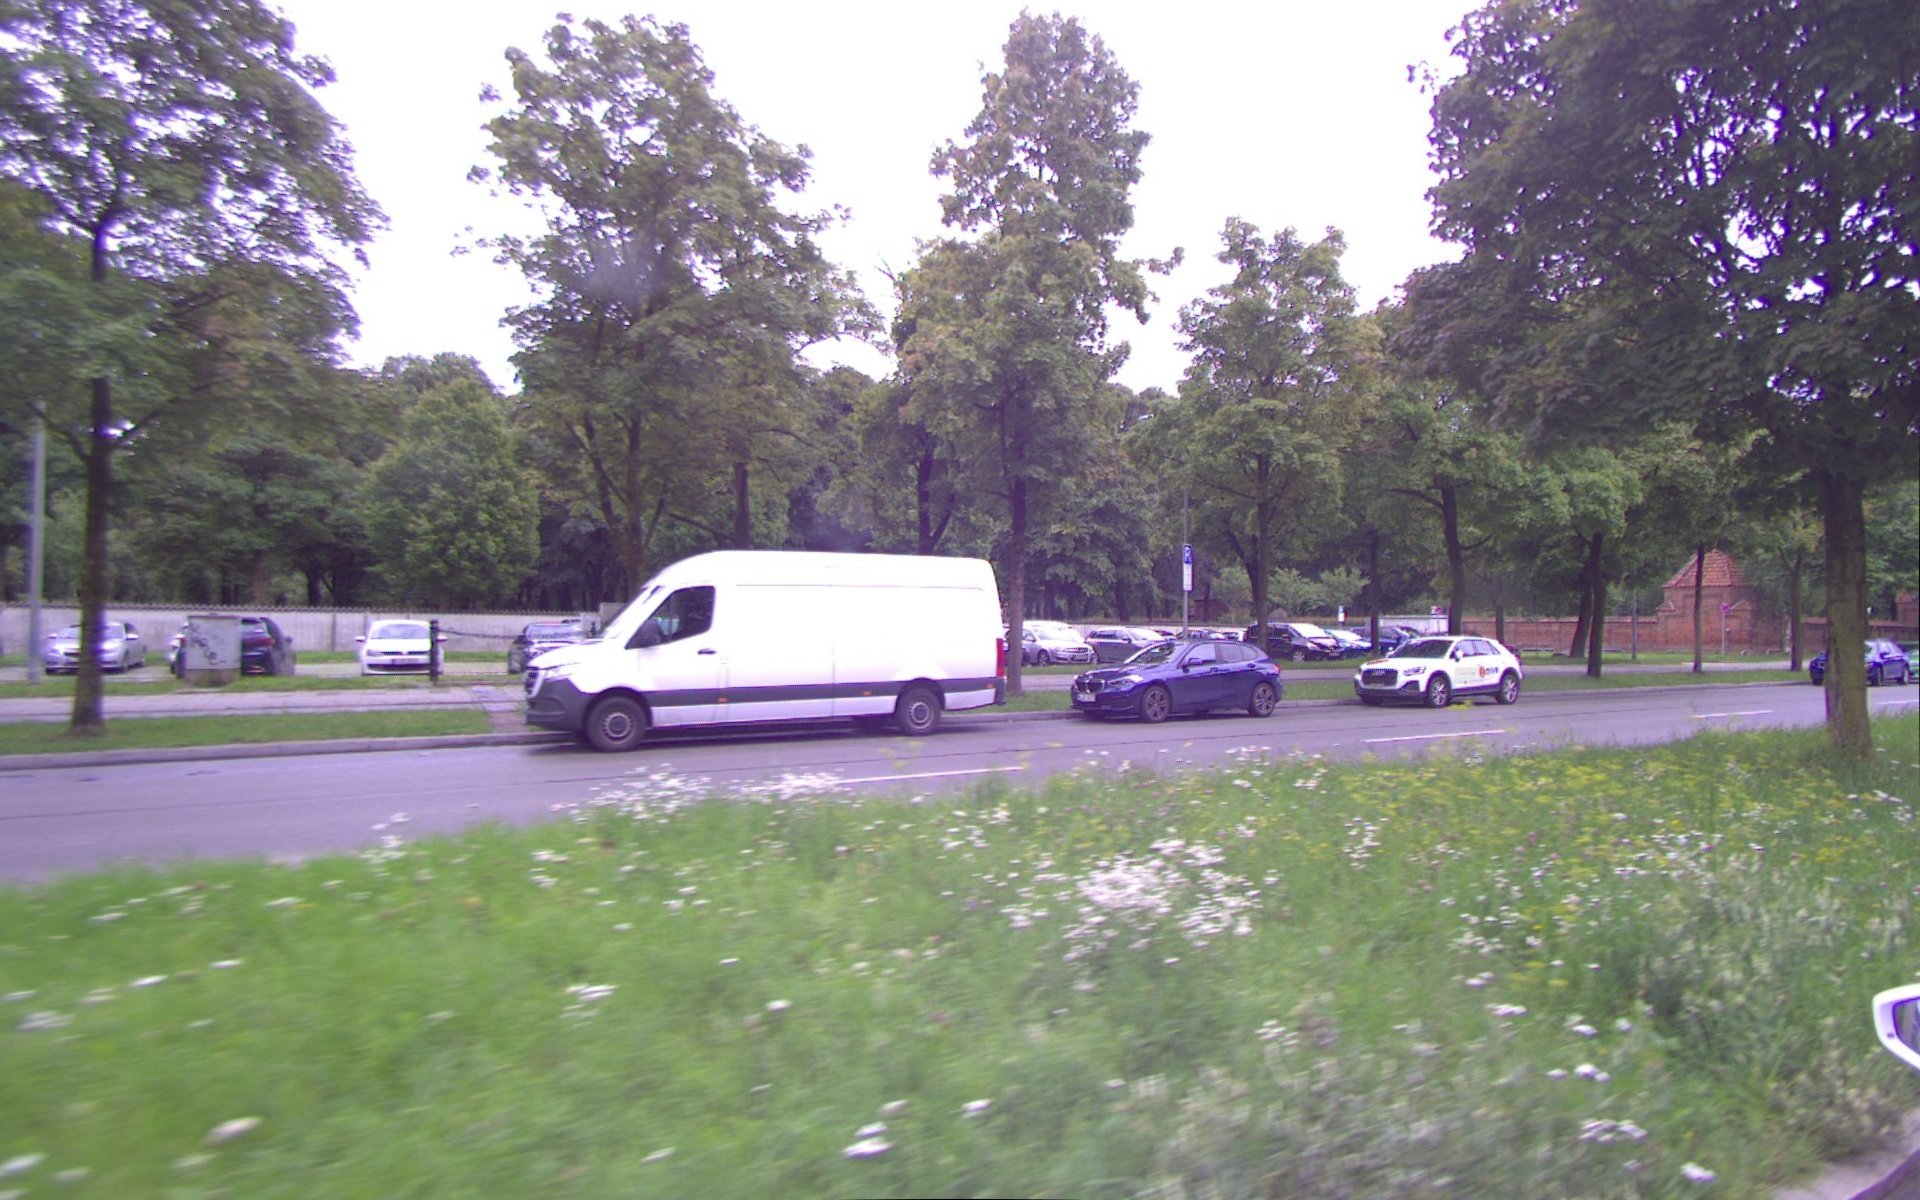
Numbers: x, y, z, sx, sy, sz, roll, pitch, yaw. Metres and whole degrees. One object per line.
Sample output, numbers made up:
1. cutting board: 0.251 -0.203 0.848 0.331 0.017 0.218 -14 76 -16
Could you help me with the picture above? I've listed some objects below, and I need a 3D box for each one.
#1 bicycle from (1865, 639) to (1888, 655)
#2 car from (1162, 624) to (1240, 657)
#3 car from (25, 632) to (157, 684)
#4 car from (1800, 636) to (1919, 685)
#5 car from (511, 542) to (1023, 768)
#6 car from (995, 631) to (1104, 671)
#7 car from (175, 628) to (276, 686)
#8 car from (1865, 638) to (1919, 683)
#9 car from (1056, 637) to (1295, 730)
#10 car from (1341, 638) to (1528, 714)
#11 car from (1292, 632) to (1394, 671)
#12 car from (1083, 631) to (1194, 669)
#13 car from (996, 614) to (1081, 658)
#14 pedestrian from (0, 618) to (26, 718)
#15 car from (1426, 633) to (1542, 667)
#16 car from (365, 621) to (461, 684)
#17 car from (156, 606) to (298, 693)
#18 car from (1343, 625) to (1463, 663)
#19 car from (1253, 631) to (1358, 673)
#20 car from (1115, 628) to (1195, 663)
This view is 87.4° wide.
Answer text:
1. bicycle: 53.378 2.739 58.500 1.602 0.949 0.651 1 -1 -33
2. car: 12.707 2.106 53.206 1.794 1.557 3.967 1 0 -30
3. car: -25.421 1.645 29.551 1.852 1.391 3.976 1 -2 -25
4. car: 30.245 2.012 33.721 4.267 1.557 1.877 1 -4 -32
5. car: -2.598 0.737 14.627 7.021 2.678 2.130 1 -3 -30
6. car: 2.866 1.631 32.953 1.760 1.225 3.974 1 -2 -26
7. car: -22.699 1.717 31.202 1.746 1.675 3.976 1 -2 -25
8. car: 34.917 2.189 36.617 4.264 1.557 1.631 1 -4 -31
9. car: 3.997 1.481 18.437 4.205 1.510 1.847 2 -2 -32
10. car: 10.552 1.651 22.282 4.096 1.510 1.847 2 -2 -32
11. car: 15.773 2.079 41.566 1.968 1.524 3.986 1 -2 -17
12. car: 6.209 1.720 35.415 1.760 1.225 4.160 1 -2 -26
13. car: 3.784 1.730 49.266 1.977 2.061 4.484 1 -2 -30
14. pedestrian: -15.016 1.029 15.378 0.846 1.515 0.791 1 -2 -30
15. car: 23.340 2.178 44.884 1.738 1.410 4.394 1 -2 -29
16. car: -13.166 1.207 24.074 1.794 1.356 3.966 1 -2 -32
17. car: -14.992 0.975 20.762 1.792 1.591 3.971 1 -2 -28
18. car: 18.520 1.817 42.185 1.977 1.524 4.329 1 -2 -30
19. car: 13.515 2.000 39.560 1.968 1.524 3.986 1 -2 -17
20. car: 9.787 2.248 50.687 1.794 1.557 3.967 1 0 -30
